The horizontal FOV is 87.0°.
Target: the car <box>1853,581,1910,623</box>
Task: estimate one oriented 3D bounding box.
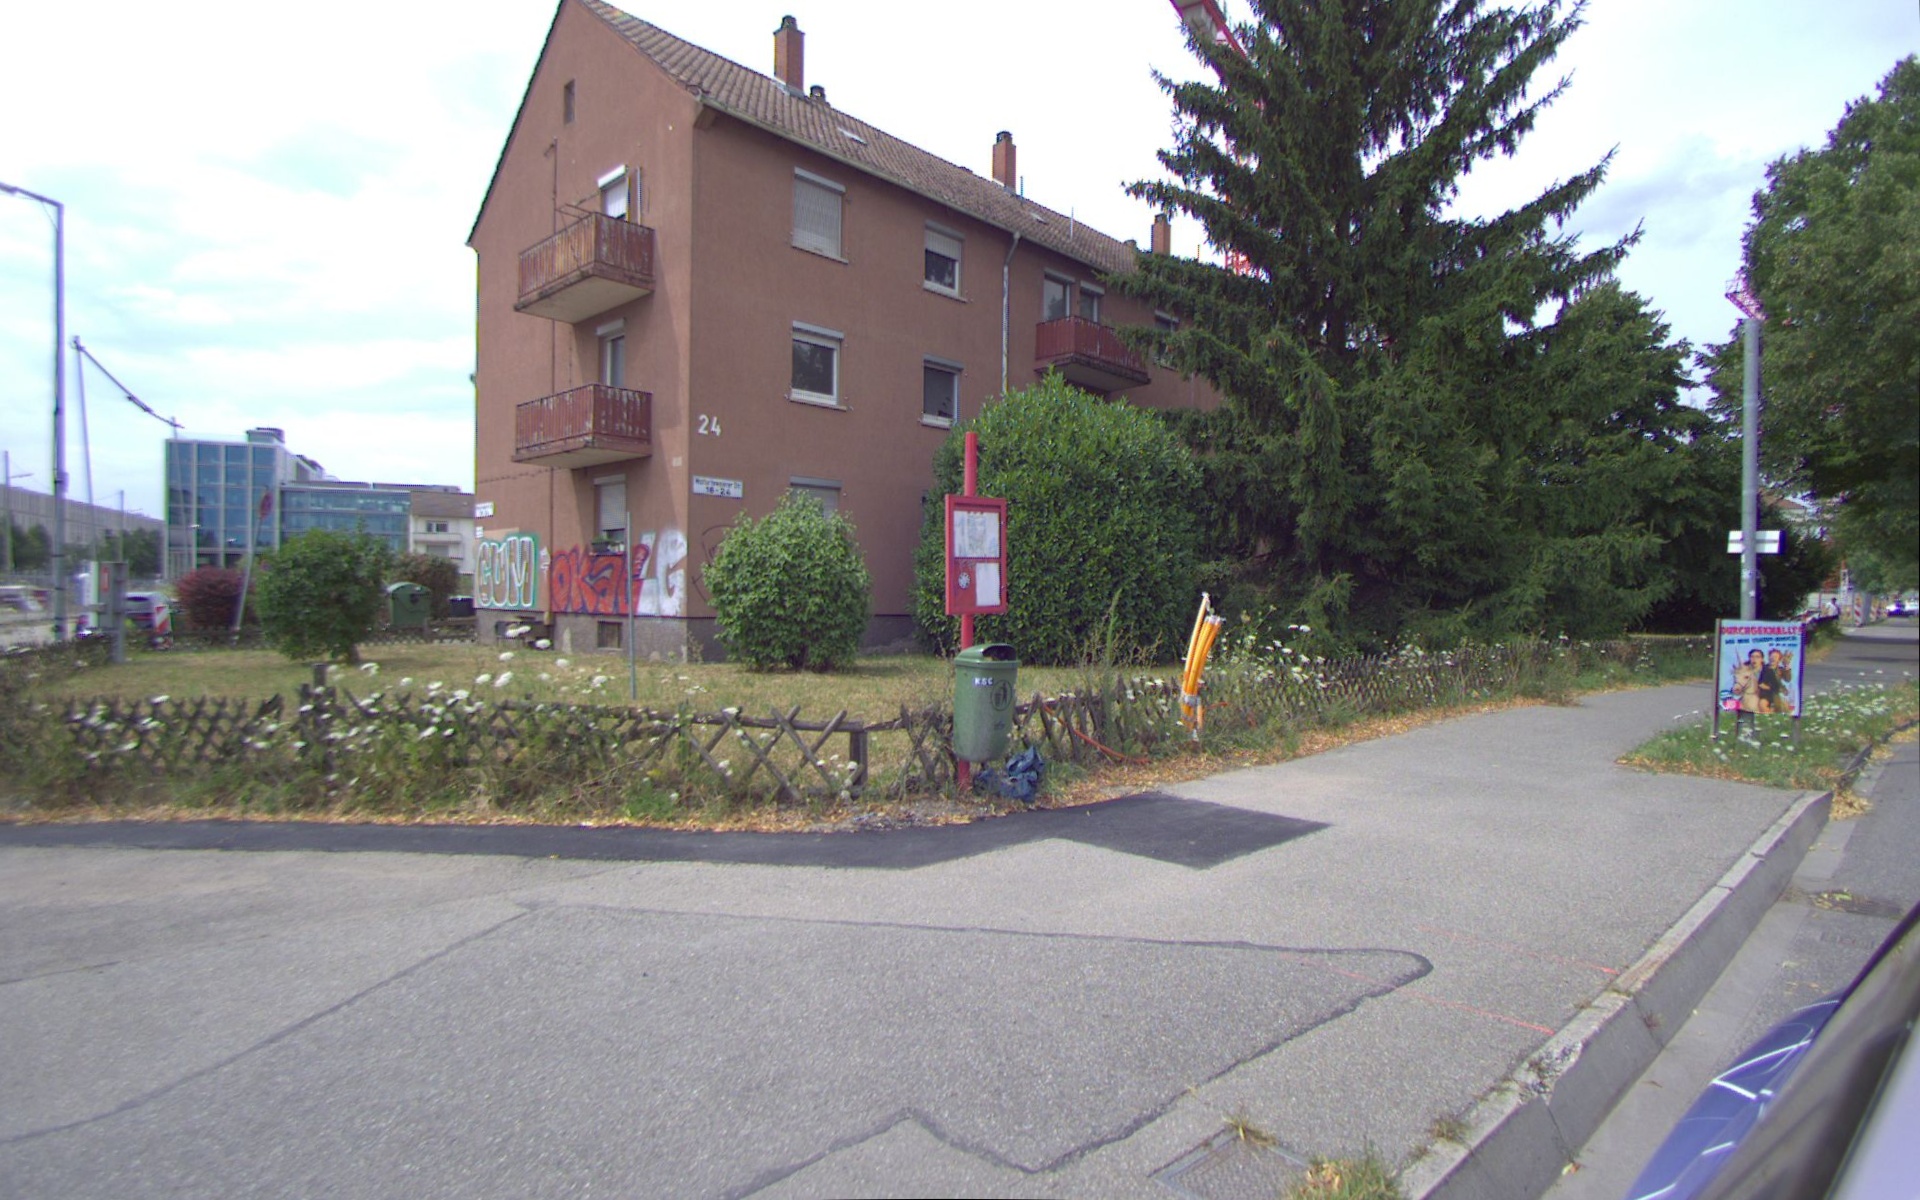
[{"bbox_3d":[49.038,0.089,53.946,1.992,2.038,3.941,4,3,40],"label":"car"}]

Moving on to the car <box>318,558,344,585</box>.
[{"bbox_3d":[-82.491,-3.787,132.800,2.561,3.341,5.876,-2,3,-29],"label":"car"}]

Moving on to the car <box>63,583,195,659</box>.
[{"bbox_3d":[-21.864,0.474,26.799,1.791,1.704,3.850,-2,3,-26],"label":"car"}]

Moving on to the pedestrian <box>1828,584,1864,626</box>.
[{"bbox_3d":[39.804,0.208,45.471,0.870,1.836,0.887,1,1,-27],"label":"pedestrian"}]

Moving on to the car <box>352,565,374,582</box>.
[{"bbox_3d":[-61.473,-2.757,104.225,1.792,1.704,3.848,-2,3,-29],"label":"car"}]
